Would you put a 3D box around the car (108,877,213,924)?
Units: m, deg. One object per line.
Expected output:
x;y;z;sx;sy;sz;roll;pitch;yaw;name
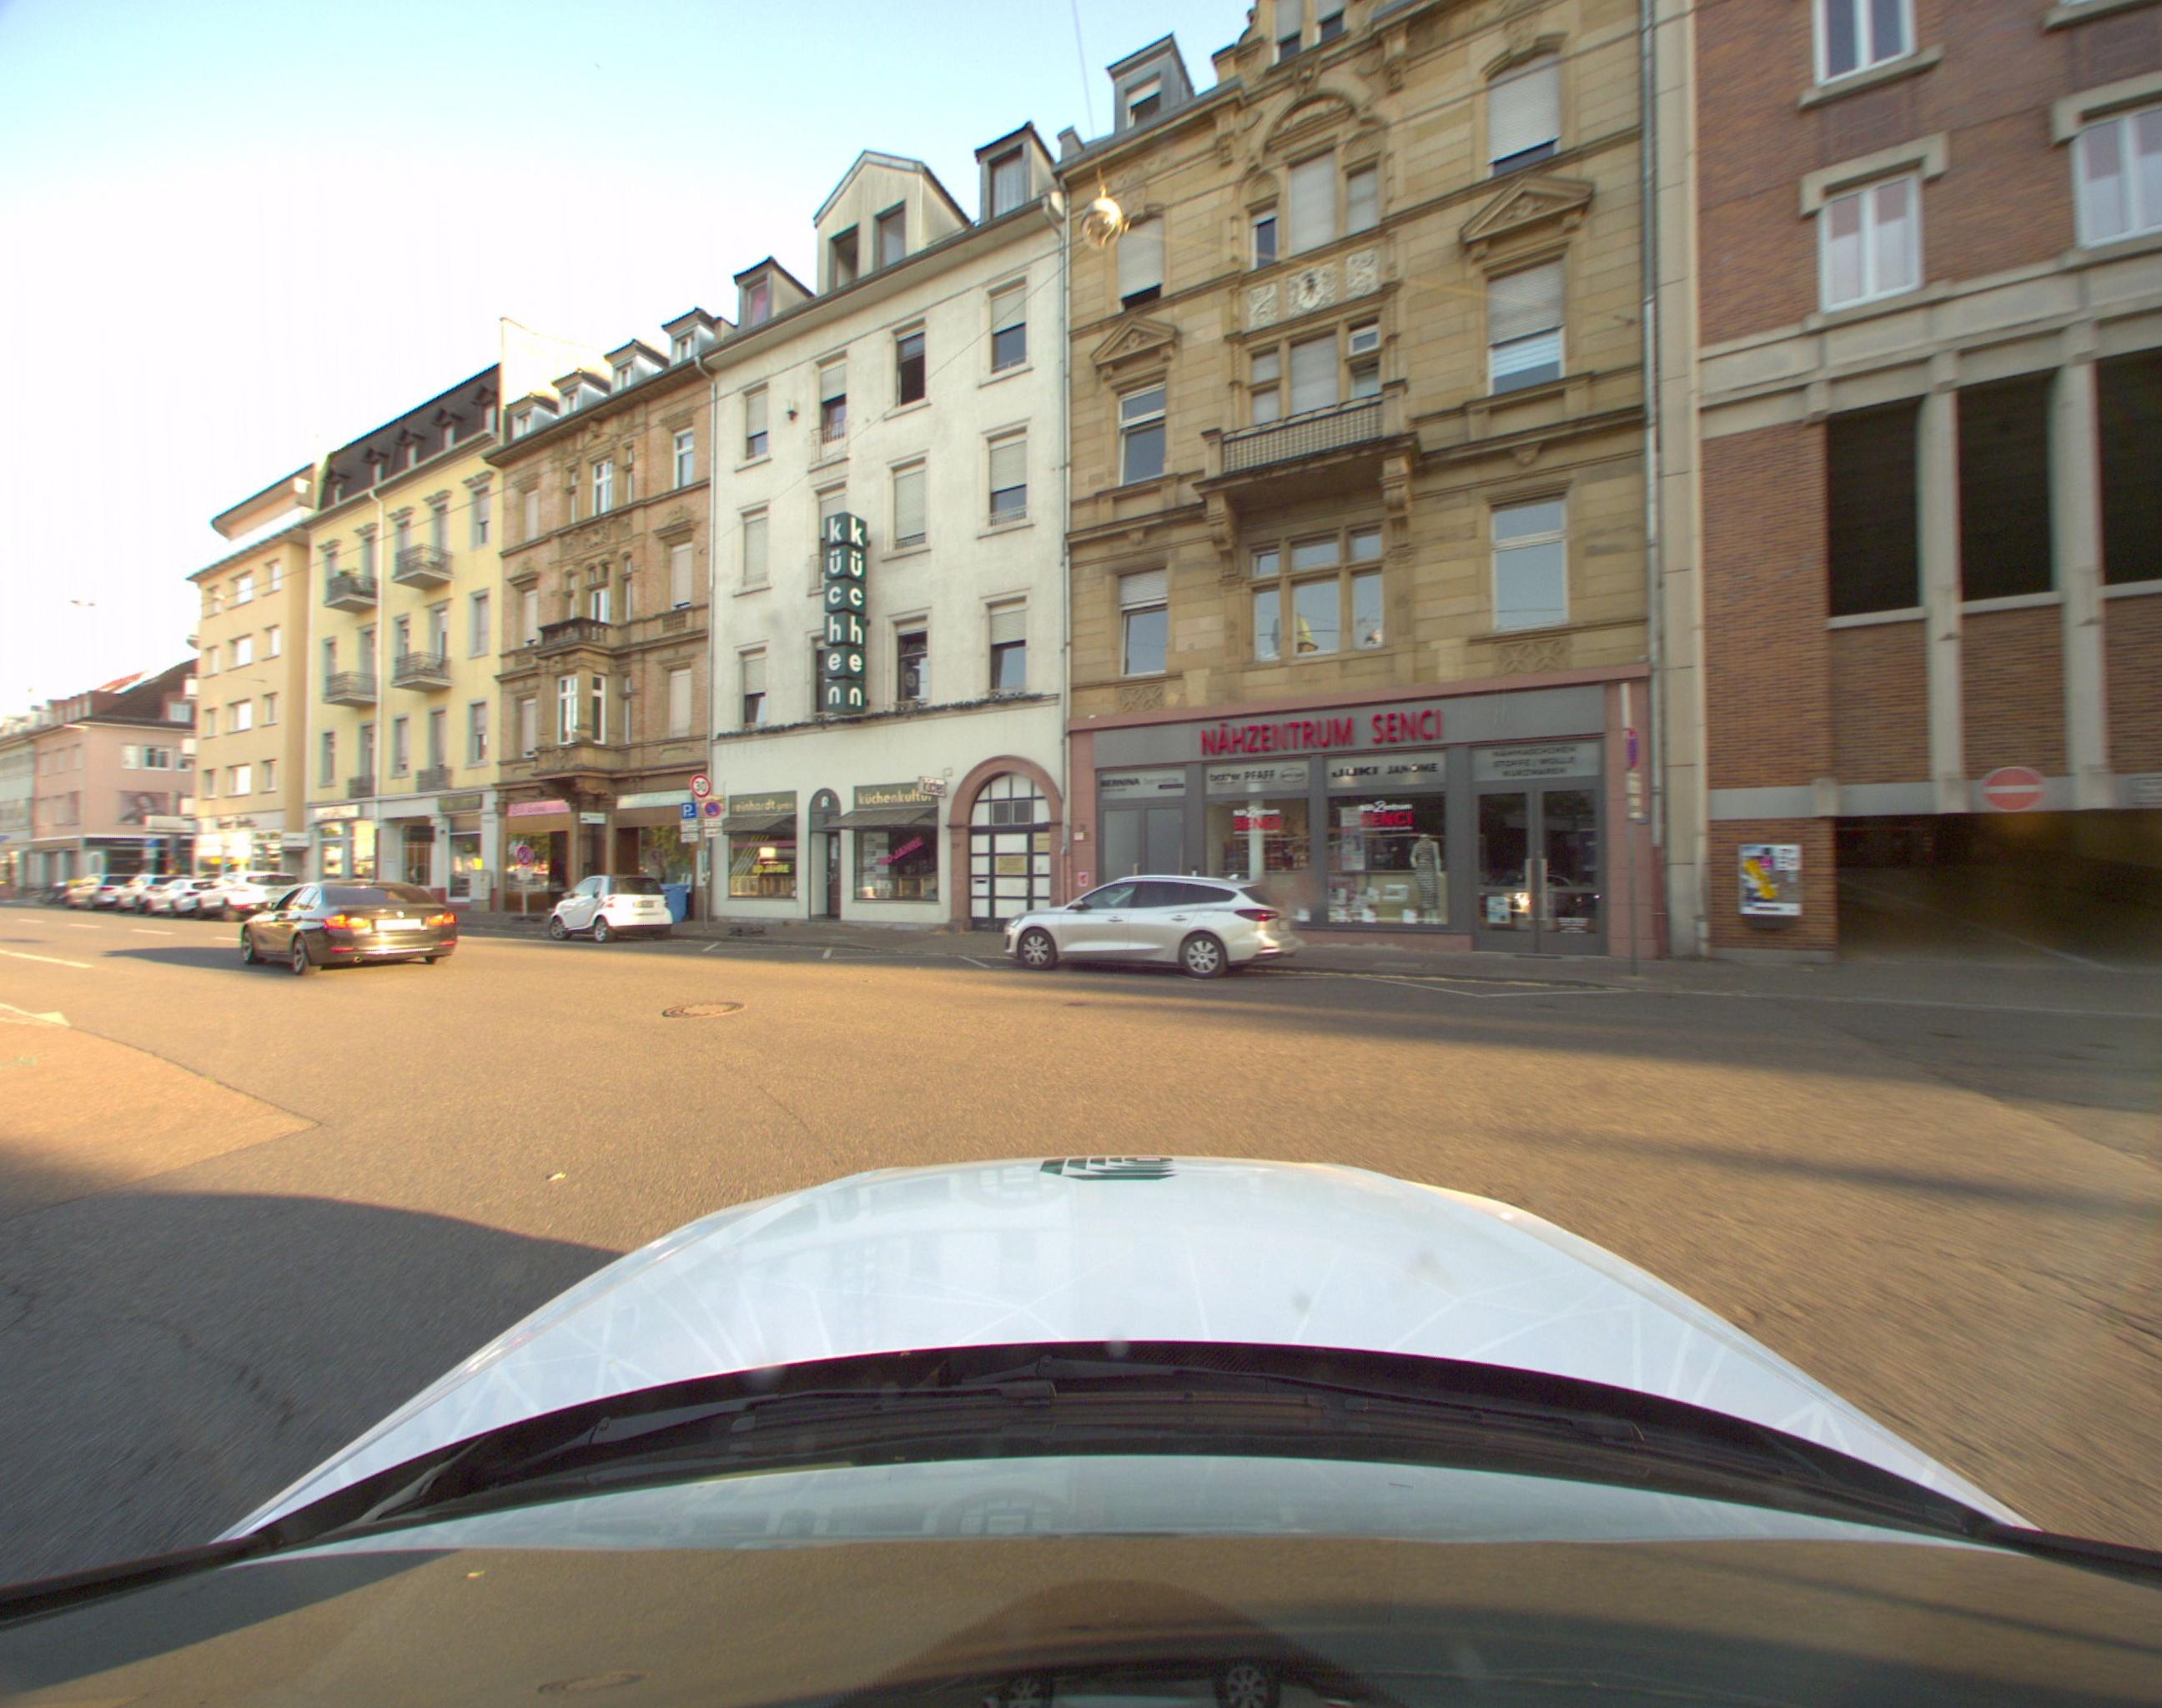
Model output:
-38.488;1.887;34.056;4.352;1.762;1.885;0;-1;28;car

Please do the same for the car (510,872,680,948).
-11.706;1.277;19.598;3.949;1.585;1.716;0;-1;29;car

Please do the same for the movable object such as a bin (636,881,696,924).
-11.818;1.356;23.205;1.380;1.186;0.874;-1;-2;28;movable object such as a bin

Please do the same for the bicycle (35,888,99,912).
-50.318;2.266;40.432;0.586;1.113;1.901;-3;-3;25;bicycle

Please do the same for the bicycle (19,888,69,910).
-53.529;2.305;42.044;0.506;1.026;1.513;-1;-1;24;bicycle

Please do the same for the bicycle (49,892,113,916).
-49.220;2.454;40.121;0.586;1.112;1.901;-1;-1;26;bicycle

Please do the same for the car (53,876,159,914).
-44.019;1.807;36.776;4.743;1.613;2.012;-1;-2;27;car

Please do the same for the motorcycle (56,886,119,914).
-48.398;2.213;39.702;0.707;1.263;1.829;-1;-1;26;motorcycle

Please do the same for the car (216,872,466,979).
-12.072;1.057;13.248;4.150;1.492;1.906;-1;-2;32;car

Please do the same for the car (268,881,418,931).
-23.452;1.595;25.839;4.788;1.434;2.012;-1;-2;28;car

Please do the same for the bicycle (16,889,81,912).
-53.054;2.394;41.878;0.753;1.112;1.901;-1;-2;25;bicycle

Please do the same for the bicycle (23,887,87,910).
-51.578;2.223;40.956;0.594;1.112;1.901;-1;-2;26;bicycle

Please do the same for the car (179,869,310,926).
-29.005;1.441;28.225;4.600;1.745;1.899;0;-1;28;car

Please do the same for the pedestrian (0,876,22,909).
-57.801;2.066;43.801;0.802;1.721;0.801;-1;-2;21;pedestrian

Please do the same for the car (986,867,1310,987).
1.025;1.014;12.800;4.623;1.535;2.012;0;-1;27;car

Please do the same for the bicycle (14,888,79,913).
-52.459;2.351;41.303;0.714;1.167;1.901;-1;-1;25;bicycle

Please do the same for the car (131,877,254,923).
-33.868;1.701;31.021;4.807;1.543;2.034;0;-1;29;car
